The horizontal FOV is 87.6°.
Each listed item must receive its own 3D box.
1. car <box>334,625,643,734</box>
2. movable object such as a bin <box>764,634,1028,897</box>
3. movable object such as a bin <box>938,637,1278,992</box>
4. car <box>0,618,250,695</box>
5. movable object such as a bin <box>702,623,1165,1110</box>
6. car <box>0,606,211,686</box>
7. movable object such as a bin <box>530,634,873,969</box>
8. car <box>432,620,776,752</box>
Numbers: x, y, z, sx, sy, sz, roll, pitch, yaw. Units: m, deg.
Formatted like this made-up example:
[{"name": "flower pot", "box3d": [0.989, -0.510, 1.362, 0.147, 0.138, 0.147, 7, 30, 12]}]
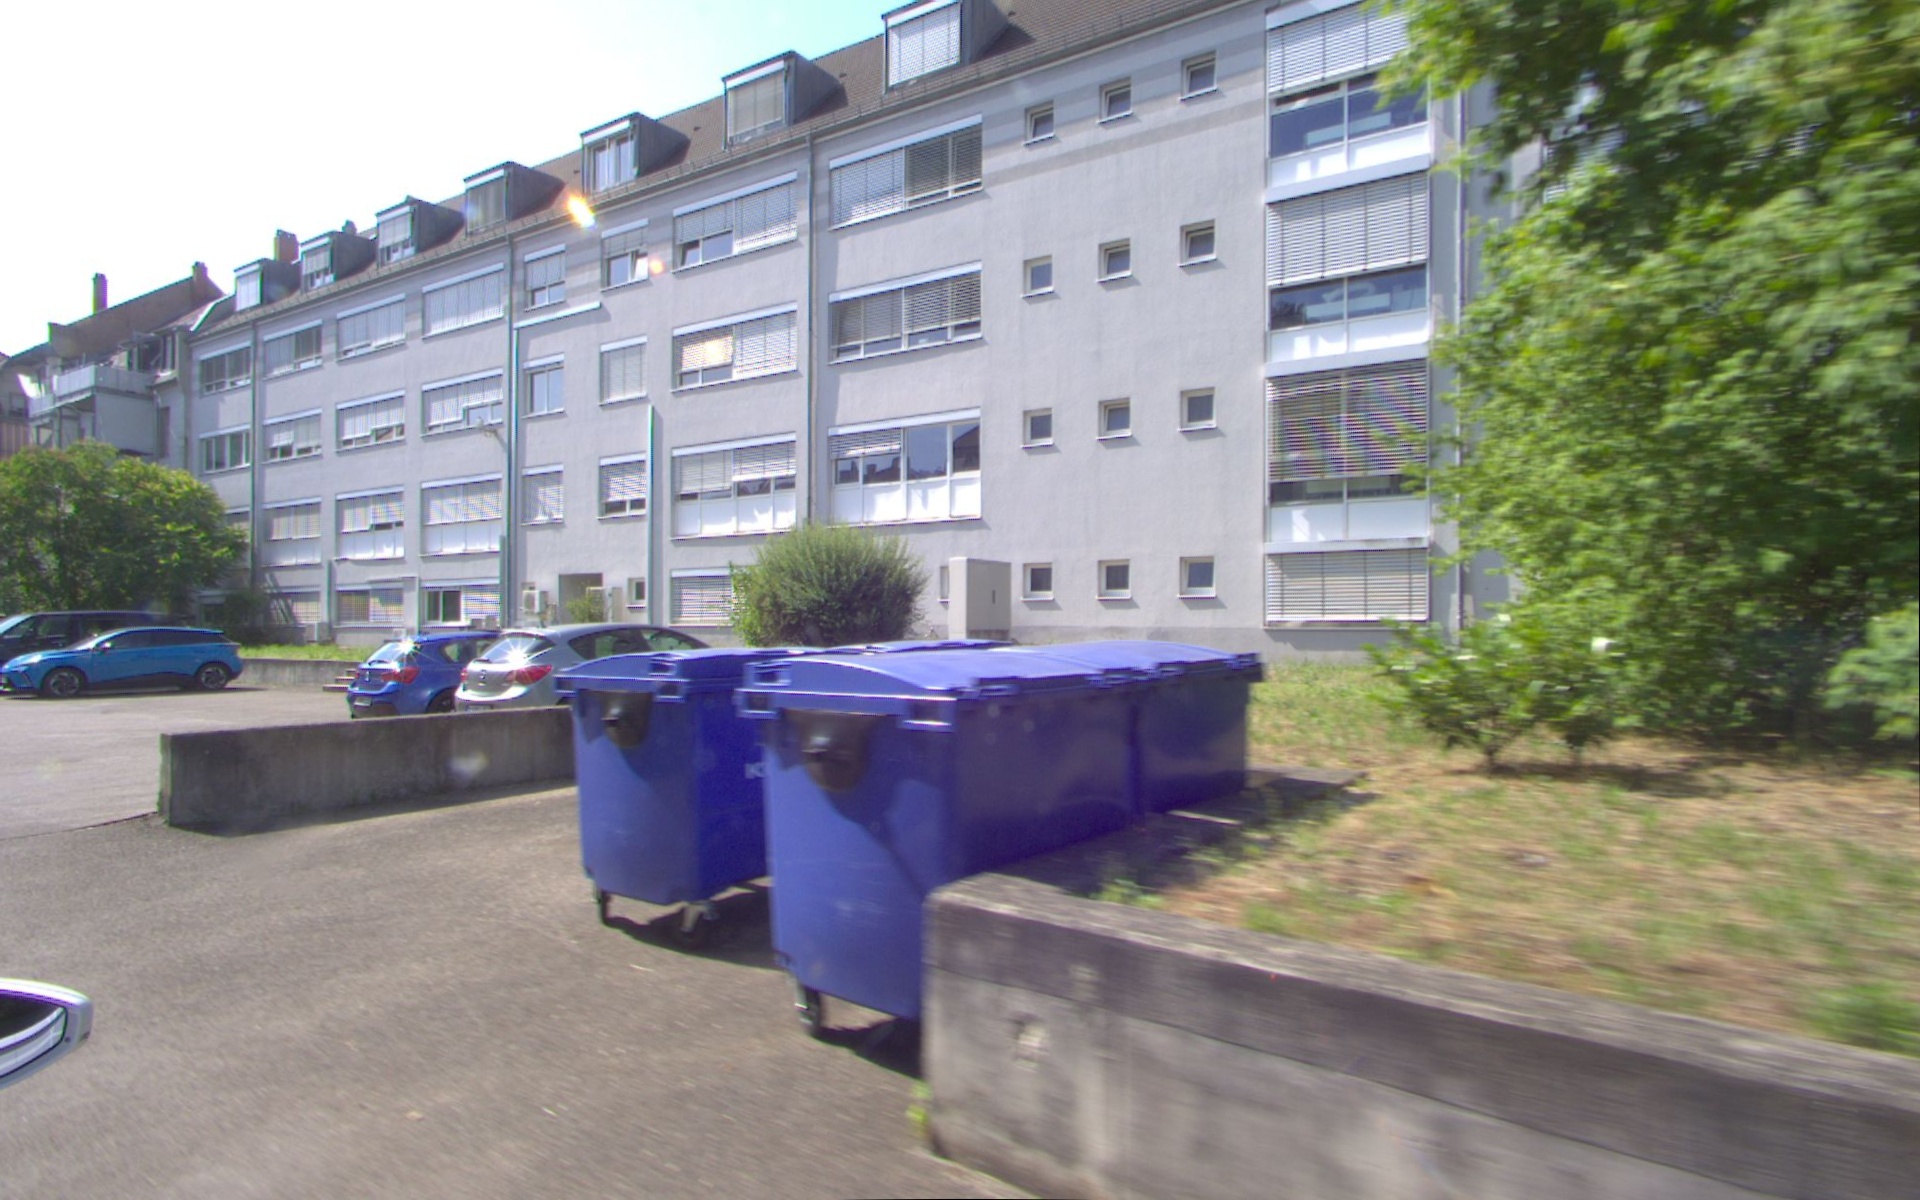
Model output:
[{"name": "car", "box3d": [-7.031, 1.100, 15.273, 1.667, 1.412, 3.973, 0, -1, 37]}, {"name": "movable object such as a bin", "box3d": [-0.365, 0.892, 6.036, 1.127, 1.354, 1.152, 0, -1, 35]}, {"name": "movable object such as a bin", "box3d": [0.723, 0.871, 4.763, 1.129, 1.358, 1.242, 0, -1, 40]}, {"name": "car", "box3d": [-19.183, 1.203, 23.083, 1.972, 1.552, 4.218, 1, 0, 34]}, {"name": "movable object such as a bin", "box3d": [-0.068, 0.785, 3.669, 1.129, 1.336, 1.241, -2, 0, 39]}, {"name": "car", "box3d": [-21.885, 1.059, 24.834, 2.062, 1.791, 4.952, 1, 0, 25]}, {"name": "movable object such as a bin", "box3d": [-1.255, 0.864, 4.997, 1.113, 1.373, 1.244, 0, -1, 35]}, {"name": "car", "box3d": [-4.466, 0.980, 13.108, 1.787, 1.445, 3.976, 0, -1, 35]}]
